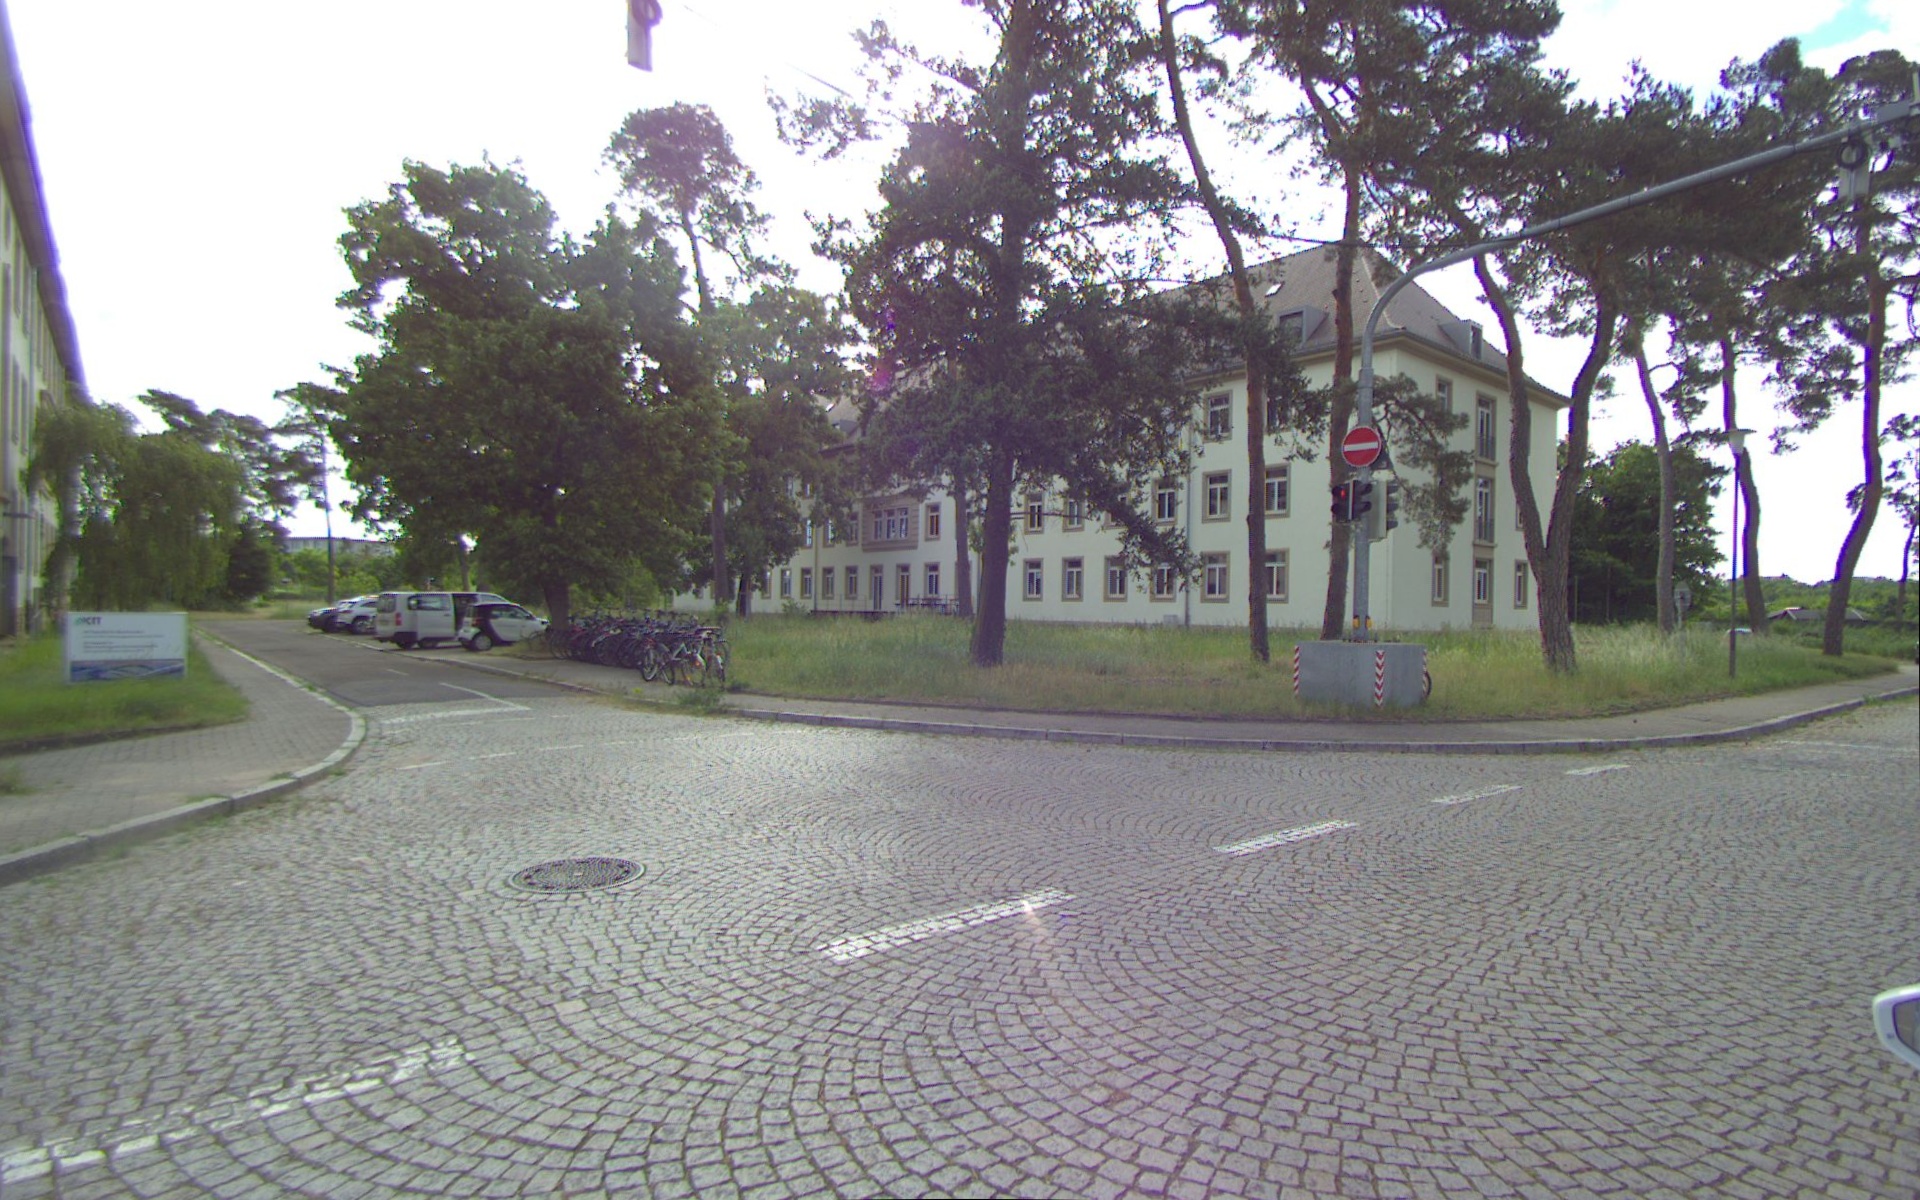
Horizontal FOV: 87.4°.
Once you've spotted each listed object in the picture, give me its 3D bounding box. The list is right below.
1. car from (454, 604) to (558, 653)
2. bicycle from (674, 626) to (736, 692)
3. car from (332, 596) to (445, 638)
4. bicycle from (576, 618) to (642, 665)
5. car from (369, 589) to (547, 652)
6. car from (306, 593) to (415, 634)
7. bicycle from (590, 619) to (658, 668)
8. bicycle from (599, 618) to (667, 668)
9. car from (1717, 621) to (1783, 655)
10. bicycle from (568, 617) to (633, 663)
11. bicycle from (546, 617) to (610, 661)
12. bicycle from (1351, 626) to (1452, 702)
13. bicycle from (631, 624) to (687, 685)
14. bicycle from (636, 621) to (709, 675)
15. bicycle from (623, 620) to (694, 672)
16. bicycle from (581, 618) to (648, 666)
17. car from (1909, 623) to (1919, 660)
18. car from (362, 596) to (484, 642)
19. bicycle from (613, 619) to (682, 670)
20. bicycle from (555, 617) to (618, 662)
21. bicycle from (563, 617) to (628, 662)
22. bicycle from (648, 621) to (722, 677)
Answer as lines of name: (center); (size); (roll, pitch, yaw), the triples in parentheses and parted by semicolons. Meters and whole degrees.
car: (-14.713, 0.894, 32.581); (2.751, 1.435, 1.573); (-2, 1, -41)
bicycle: (-4.610, 1.041, 18.115); (0.494, 1.089, 1.400); (-2, 2, -40)
car: (-25.938, 0.774, 45.697); (1.833, 1.743, 4.071); (3, 1, 42)
bicycle: (-8.612, 0.993, 24.701); (0.491, 1.053, 1.448); (1, 3, 45)
car: (-17.244, 0.641, 34.756); (2.003, 1.942, 5.151); (0, 1, 36)
car: (-28.426, 0.654, 47.722); (1.804, 1.790, 4.071); (3, 1, 42)
bicycle: (-7.949, 1.012, 23.805); (0.491, 1.053, 1.448); (1, 3, 45)
bicycle: (-7.630, 0.986, 23.469); (0.491, 1.053, 1.448); (1, 3, 45)
car: (41.446, 1.943, 52.662); (4.019, 1.632, 1.699); (1, 1, -36)
bicycle: (-8.952, 0.983, 25.047); (0.491, 1.053, 1.448); (1, 3, 45)
bicycle: (-9.944, 0.993, 26.180); (0.491, 1.053, 1.448); (1, 3, 45)
bicycle: (6.978, 0.993, 15.912); (0.494, 1.089, 1.399); (-3, 2, -42)
bicycle: (-5.762, 1.027, 19.217); (0.494, 1.053, 1.400); (-2, 2, -40)
bicycle: (-6.197, 1.017, 21.690); (0.491, 1.053, 1.448); (1, 3, 45)
bicycle: (-6.752, 1.019, 22.561); (0.491, 1.053, 1.448); (1, 3, 45)
bicycle: (-8.292, 0.997, 24.151); (0.491, 1.053, 1.448); (1, 3, 45)
car: (45.572, 1.940, 46.562); (4.022, 1.632, 1.698); (1, 1, -38)
car: (-22.234, 0.781, 41.720); (1.833, 1.743, 4.071); (3, 1, 42)
bicycle: (-7.142, 1.008, 22.988); (0.491, 1.053, 1.448); (1, 3, 45)
bicycle: (-9.604, 0.992, 25.854); (0.491, 1.053, 1.448); (1, 3, 45)
bicycle: (-9.239, 0.983, 25.488); (0.491, 1.053, 1.448); (1, 3, 45)
bicycle: (-5.742, 1.005, 21.044); (0.490, 1.053, 1.449); (1, 2, 42)
